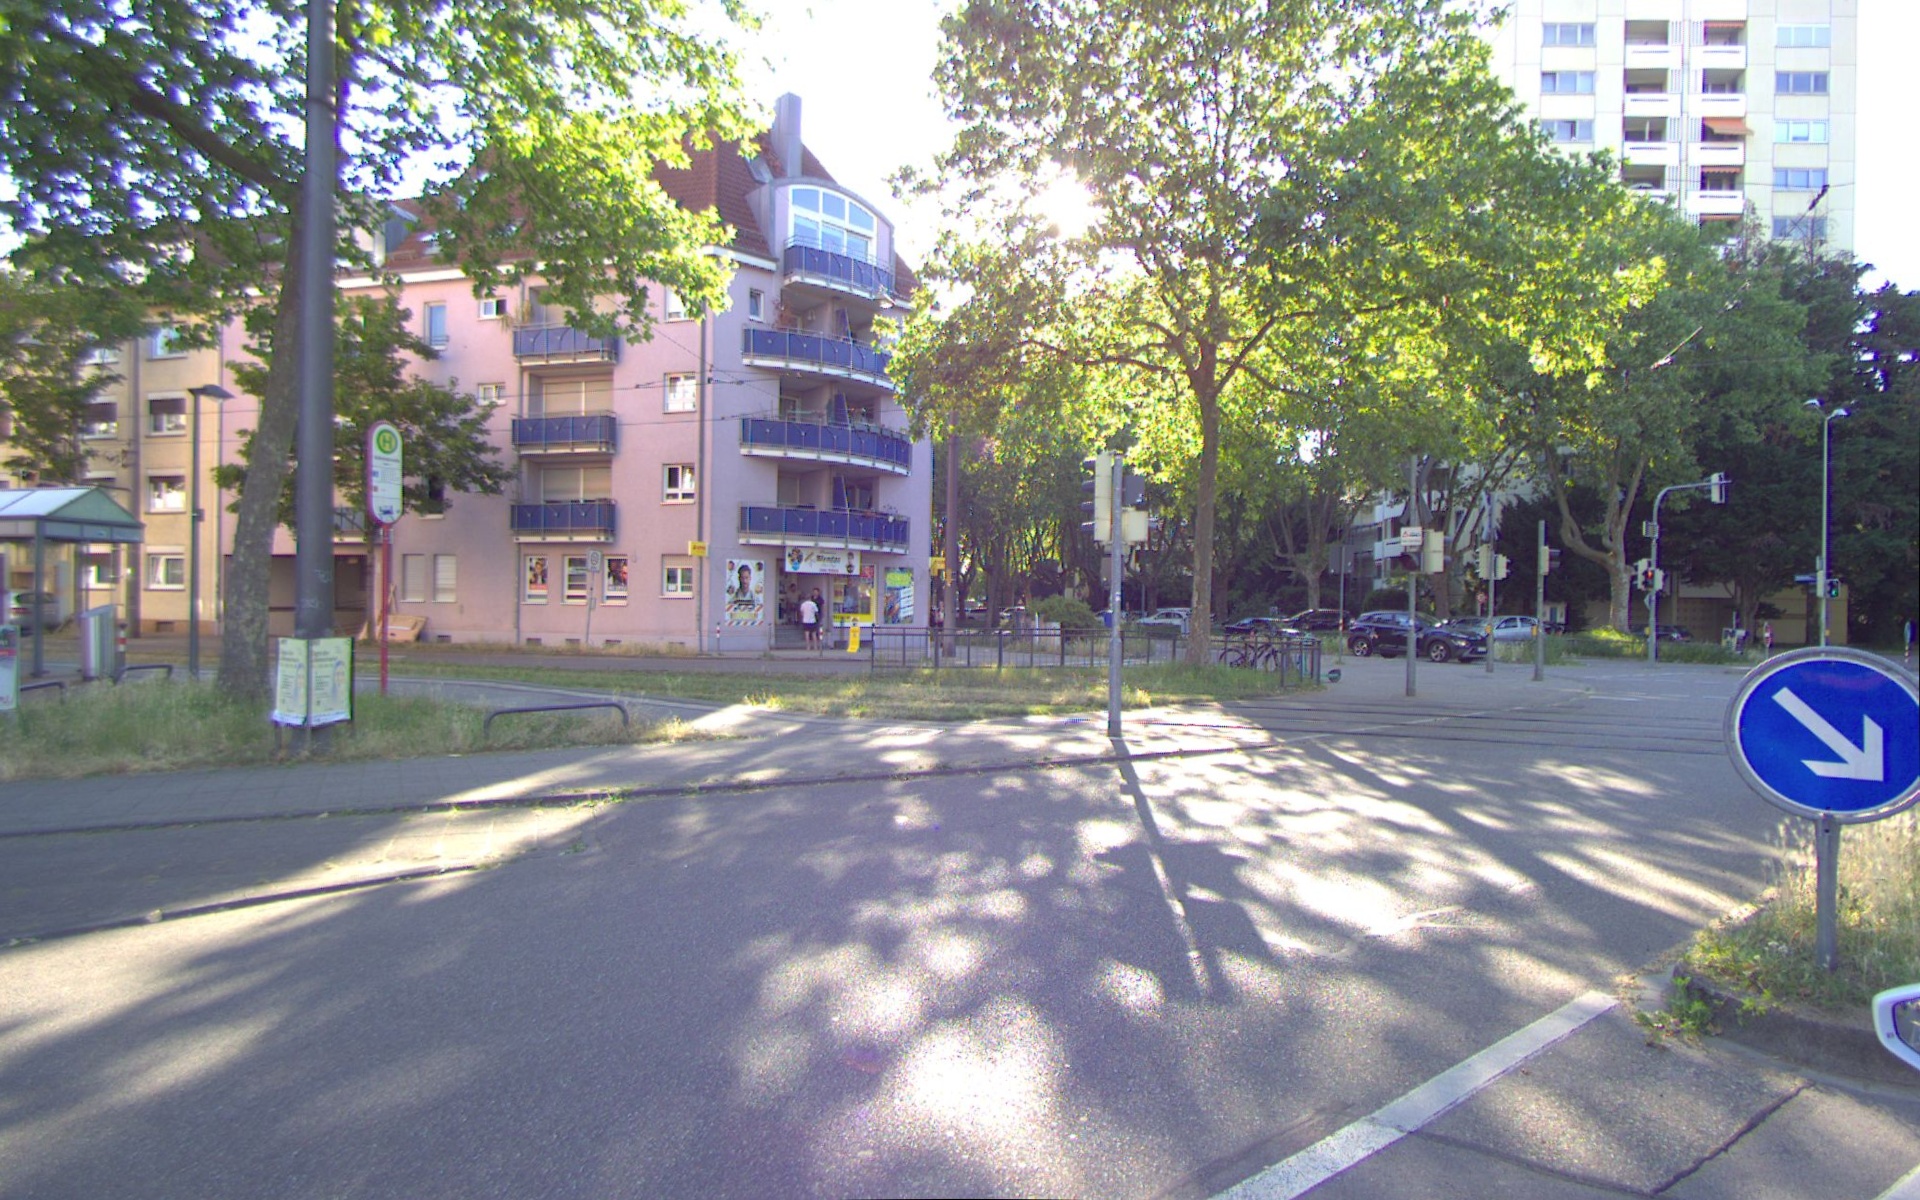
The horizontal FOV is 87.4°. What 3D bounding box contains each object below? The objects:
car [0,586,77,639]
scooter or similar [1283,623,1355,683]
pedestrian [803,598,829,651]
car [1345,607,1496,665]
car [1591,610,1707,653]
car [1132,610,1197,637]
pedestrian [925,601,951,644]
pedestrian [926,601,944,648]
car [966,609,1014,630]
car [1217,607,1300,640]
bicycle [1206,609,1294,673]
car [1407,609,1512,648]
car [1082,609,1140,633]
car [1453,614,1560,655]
[{"bbox_3d":[-33.481,0.391,35.216,4.029,1.728,1.940,2,0,16],"label":"car"},{"bbox_3d":[7.919,1.171,22.203,1.412,1.255,0.414,2,0,9],"label":"scooter or similar"},{"bbox_3d":[-4.691,0.792,32.677,0.610,1.689,0.549,2,0,38],"label":"pedestrian"},{"bbox_3d":[14.321,1.084,31.435,1.722,1.617,3.959,2,0,-36],"label":"car"},{"bbox_3d":[31.617,1.410,46.201,1.971,1.798,3.979,2,0,-22],"label":"car"},{"bbox_3d":[13.399,1.550,65.982,3.921,1.617,1.738,2,0,0],"label":"car"},{"bbox_3d":[-0.892,0.910,40.779,0.909,1.689,0.619,2,0,-9],"label":"pedestrian"},{"bbox_3d":[-0.915,0.892,36.912,0.540,1.689,0.620,2,0,6],"label":"pedestrian"},{"bbox_3d":[2.605,1.668,86.365,3.919,1.617,1.739,2,0,9],"label":"car"},{"bbox_3d":[15.910,1.239,53.680,3.921,1.617,1.738,2,0,0],"label":"car"},{"bbox_3d":[6.397,0.880,22.244,1.811,1.324,0.382,2,0,34],"label":"bicycle"},{"bbox_3d":[22.838,1.297,46.032,3.921,1.617,1.738,2,0,0],"label":"car"},{"bbox_3d":[11.080,1.522,73.896,3.921,1.617,1.738,2,0,0],"label":"car"},{"bbox_3d":[23.876,1.491,43.981,3.732,1.617,1.738,2,0,0],"label":"car"}]
